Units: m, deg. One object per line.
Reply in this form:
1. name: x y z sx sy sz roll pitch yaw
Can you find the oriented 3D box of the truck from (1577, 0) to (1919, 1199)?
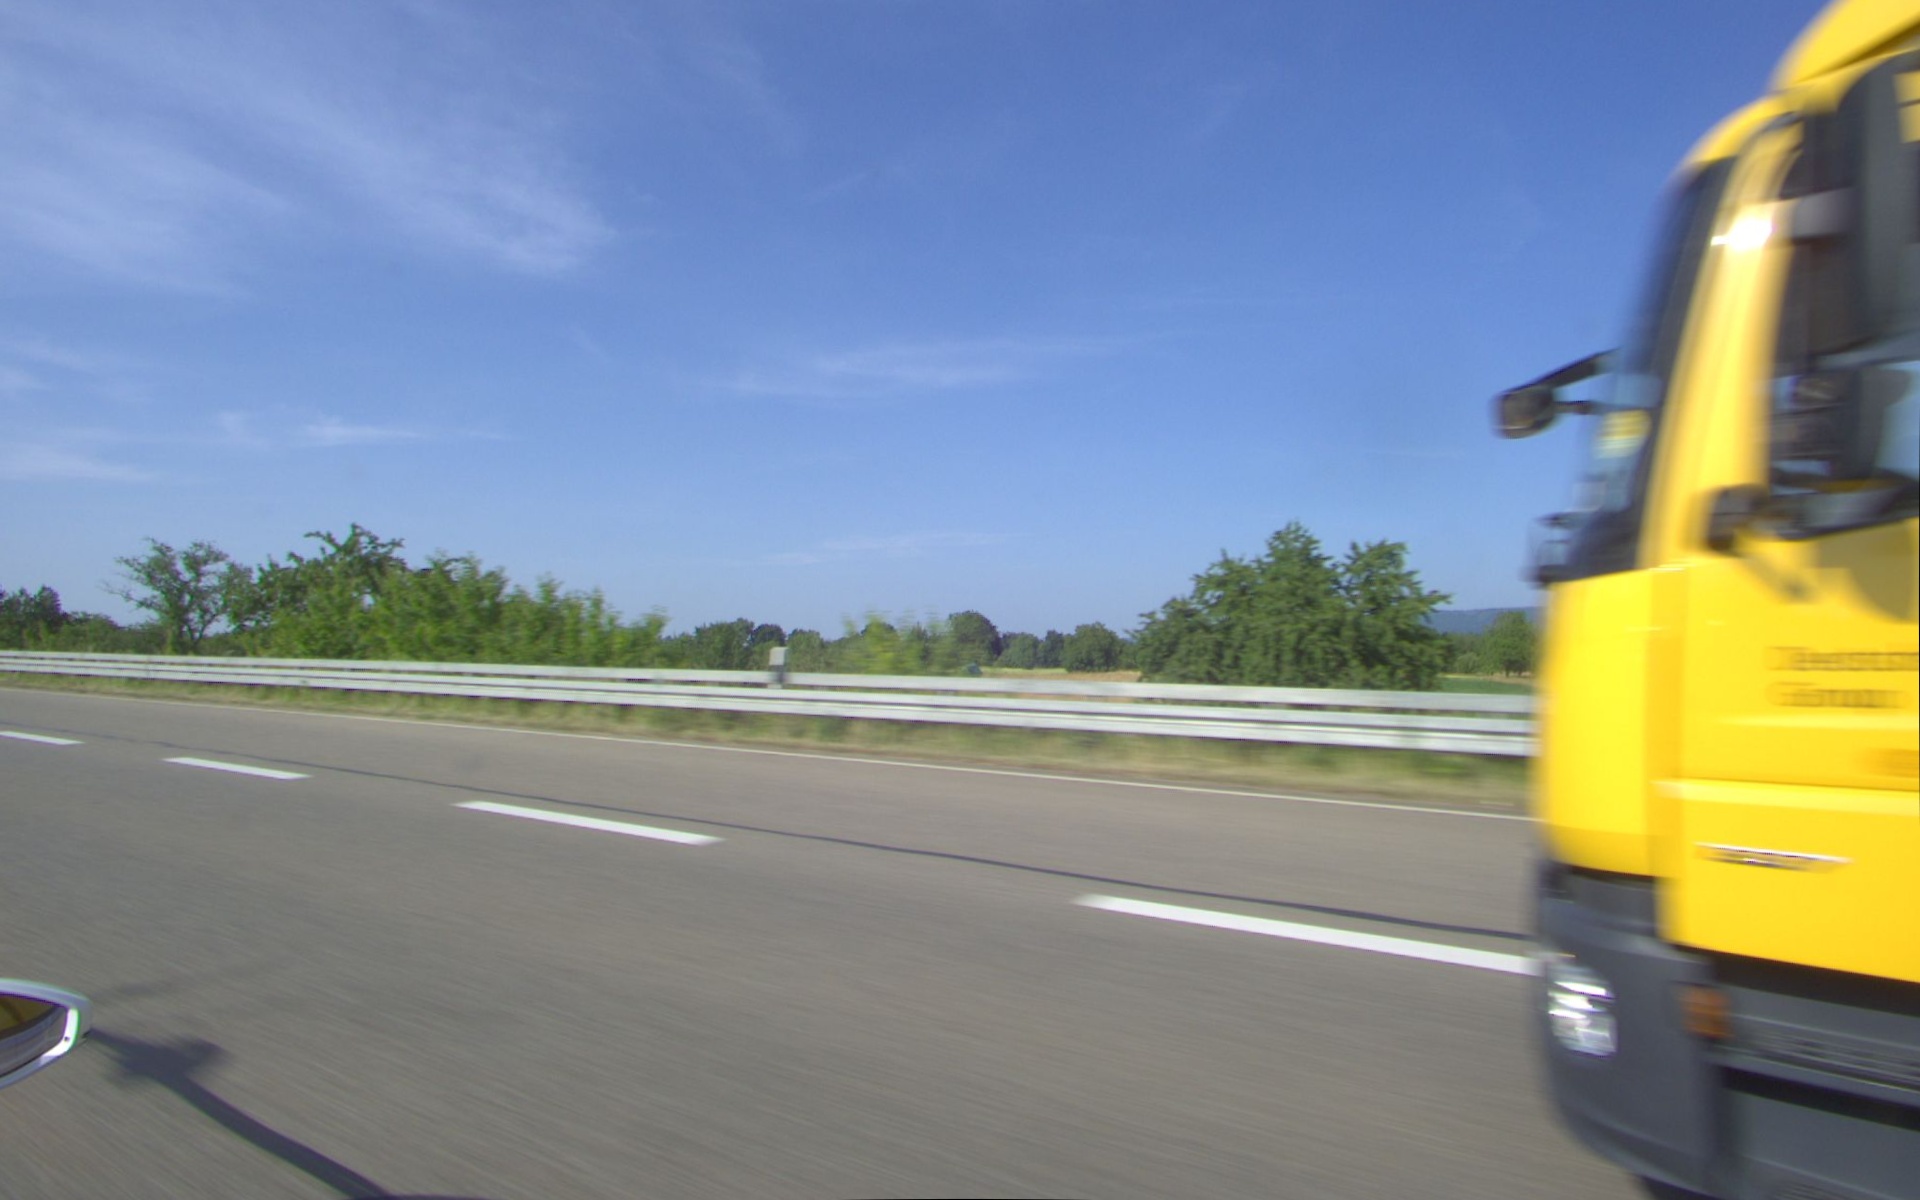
1. truck: 6.260 -0.190 0.277 10.338 3.359 2.774 -1 -2 32
